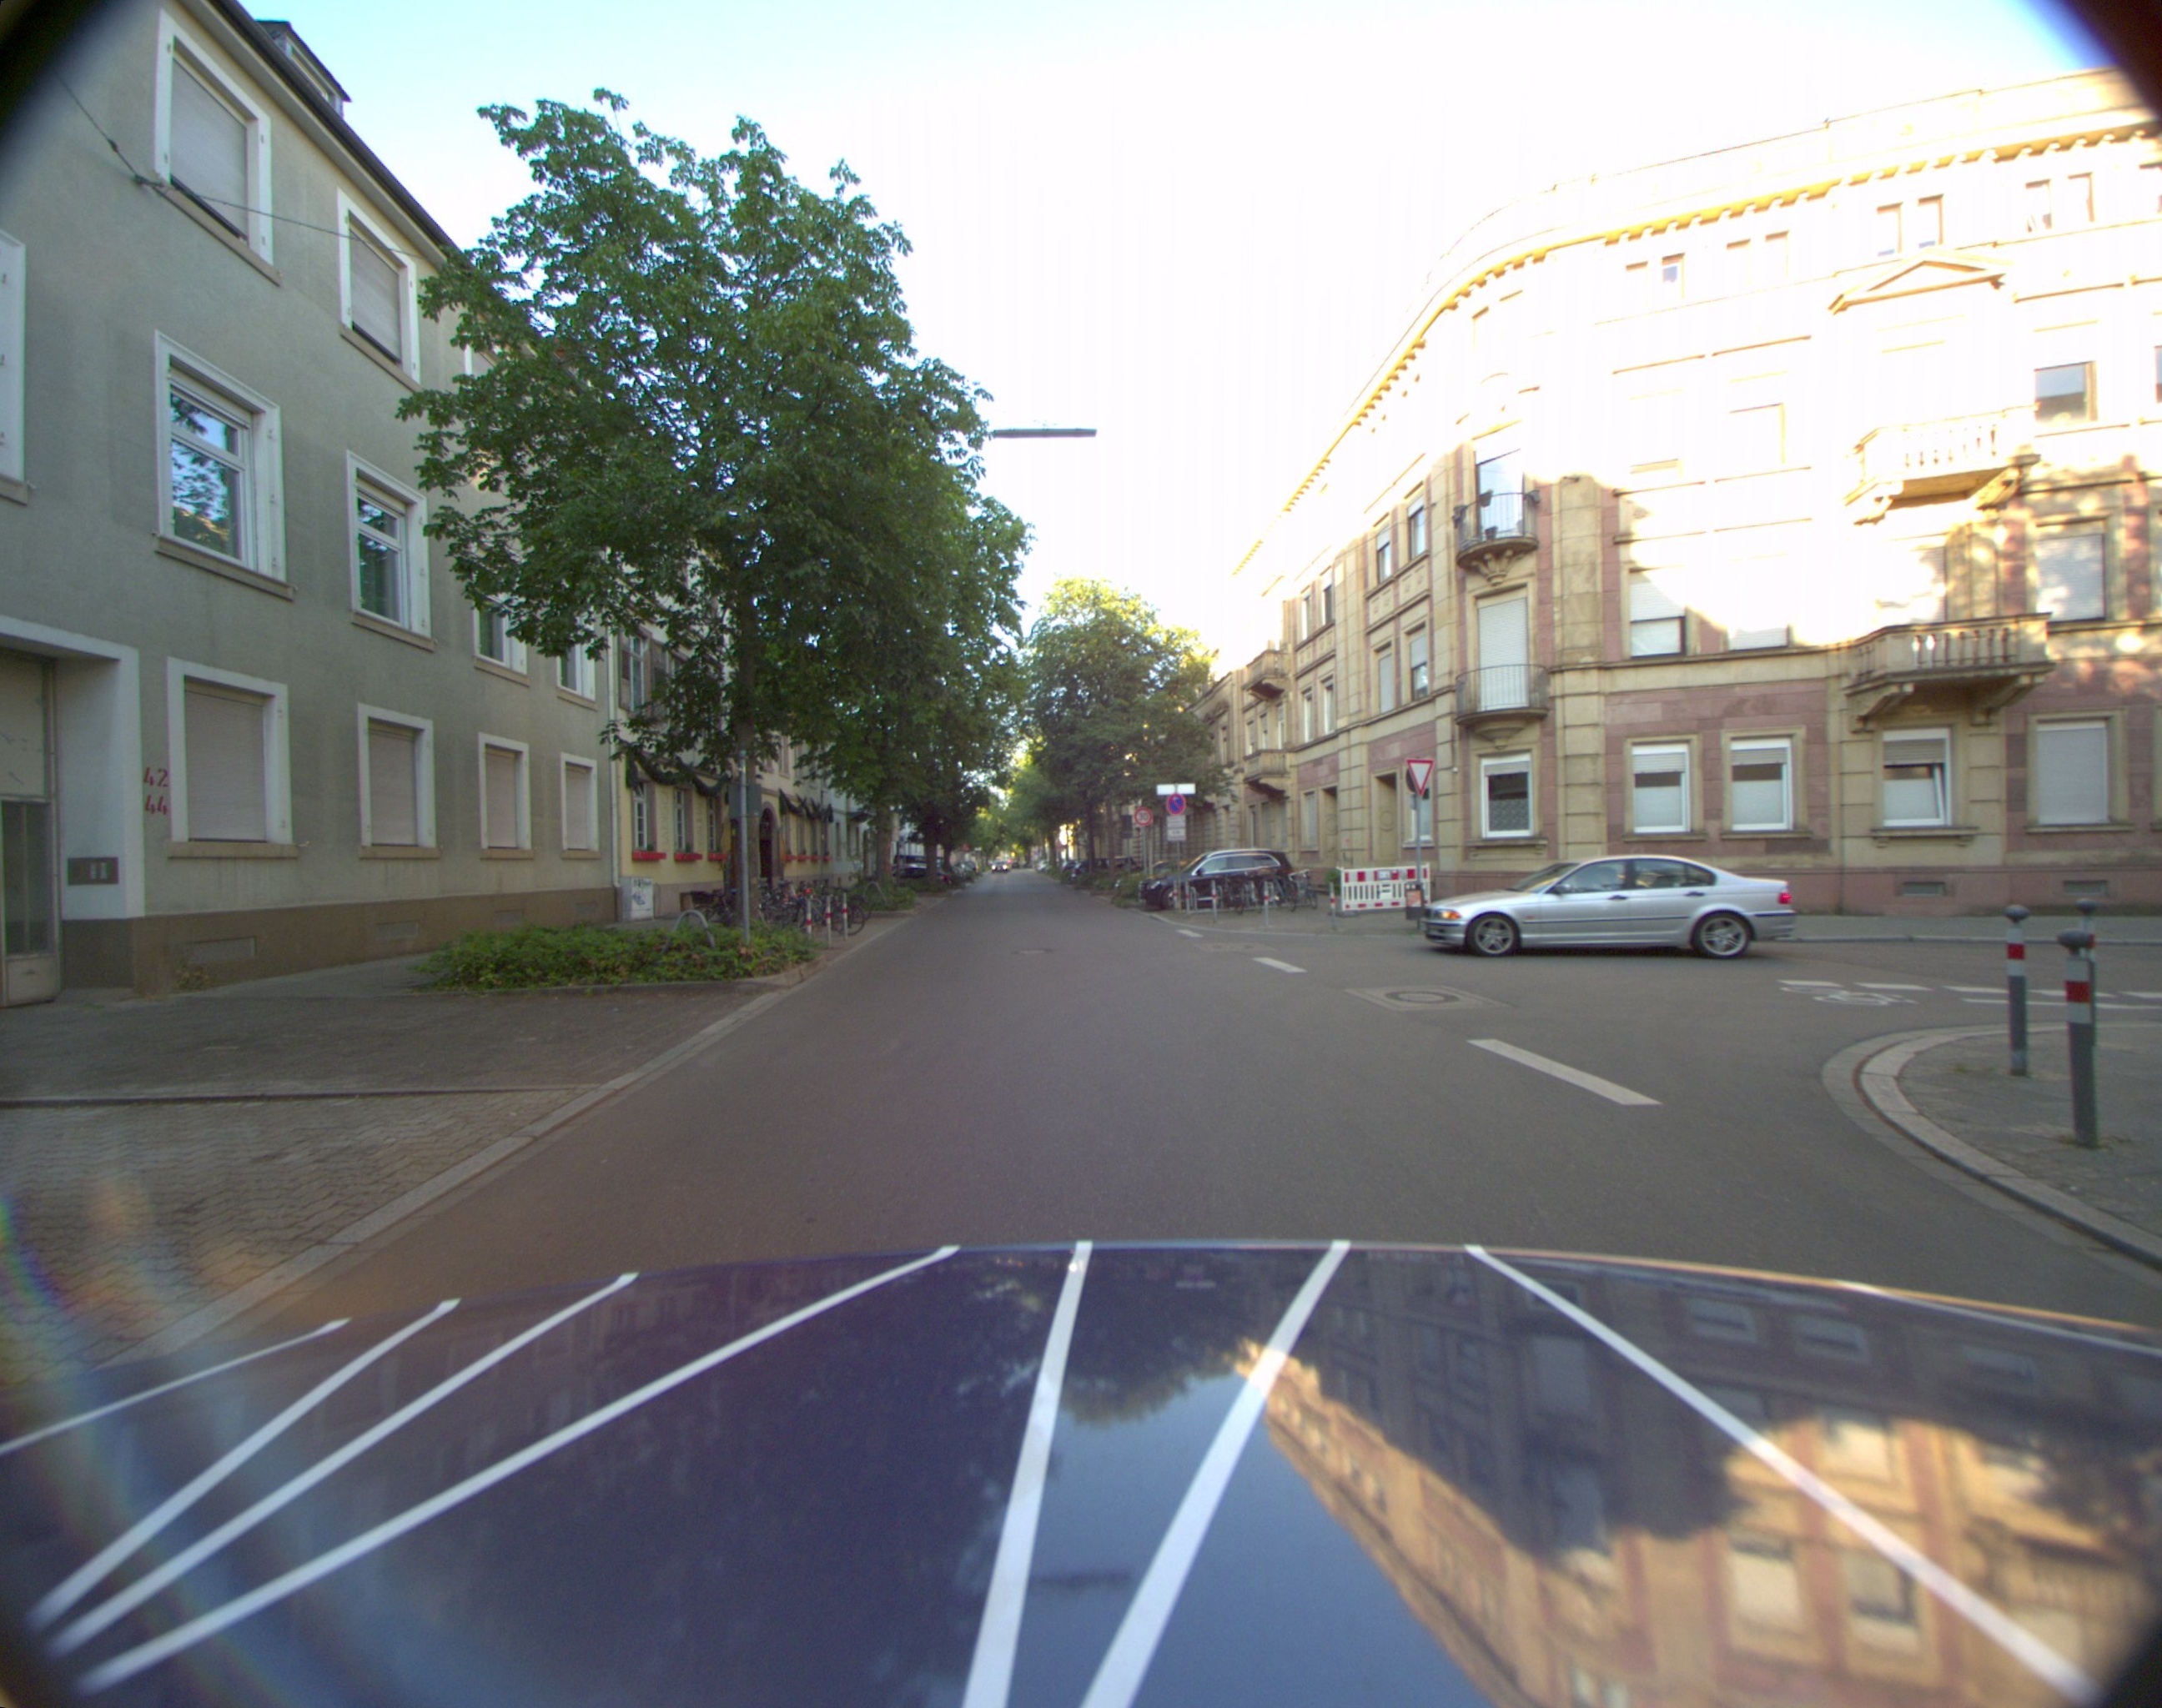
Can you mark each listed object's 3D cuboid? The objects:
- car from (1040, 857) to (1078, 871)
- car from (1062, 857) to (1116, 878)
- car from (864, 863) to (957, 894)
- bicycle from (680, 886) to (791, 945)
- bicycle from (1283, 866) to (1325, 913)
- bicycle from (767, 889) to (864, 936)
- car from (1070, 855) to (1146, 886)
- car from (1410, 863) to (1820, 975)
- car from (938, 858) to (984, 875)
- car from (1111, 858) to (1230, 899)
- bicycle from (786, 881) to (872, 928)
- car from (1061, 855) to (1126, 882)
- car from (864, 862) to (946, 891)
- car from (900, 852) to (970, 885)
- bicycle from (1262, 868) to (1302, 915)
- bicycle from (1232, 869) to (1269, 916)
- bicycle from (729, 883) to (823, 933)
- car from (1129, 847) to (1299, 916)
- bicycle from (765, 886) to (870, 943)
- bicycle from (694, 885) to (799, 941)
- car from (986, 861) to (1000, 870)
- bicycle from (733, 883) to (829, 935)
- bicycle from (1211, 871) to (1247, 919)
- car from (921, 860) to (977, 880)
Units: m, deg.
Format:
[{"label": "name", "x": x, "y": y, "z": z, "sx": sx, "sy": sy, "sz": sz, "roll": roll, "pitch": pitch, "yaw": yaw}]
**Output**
[{"label": "car", "x": -2.673, "y": 1.170, "z": 91.545, "sx": 4.444, "sy": 1.638, "sz": 1.776, "roll": -1, "pitch": 0, "yaw": -4}, {"label": "car", "x": 0.631, "y": 1.046, "z": 58.988, "sx": 4.032, "sy": 1.474, "sz": 1.776, "roll": -1, "pitch": 0, "yaw": -4}, {"label": "car", "x": -8.785, "y": 1.247, "z": 39.481, "sx": 4.444, "sy": 1.496, "sz": 1.776, "roll": -1, "pitch": 0, "yaw": -4}, {"label": "bicycle", "x": -7.064, "y": 1.245, "z": 15.583, "sx": 2.041, "sy": 1.139, "sz": 0.446, "roll": -1, "pitch": 0, "yaw": -2}, {"label": "bicycle", "x": 5.734, "y": 0.897, "z": 19.650, "sx": 0.364, "sy": 1.083, "sz": 1.869, "roll": -3, "pitch": 1, "yaw": -5}, {"label": "bicycle", "x": -6.067, "y": 1.332, "z": 17.440, "sx": 2.042, "sy": 0.998, "sz": 0.421, "roll": -1, "pitch": 0, "yaw": -6}, {"label": "car", "x": 1.615, "y": 0.999, "z": 46.247, "sx": 4.444, "sy": 1.728, "sz": 1.776, "roll": -1, "pitch": 0, "yaw": -4}, {"label": "car", "x": 7.251, "y": 0.859, "z": 10.849, "sx": 4.462, "sy": 1.395, "sz": 1.685, "roll": -1, "pitch": -1, "yaw": 15}, {"label": "car", "x": -12.239, "y": 1.279, "z": 77.420, "sx": 4.444, "sy": 1.603, "sz": 1.776, "roll": -1, "pitch": 0, "yaw": -4}, {"label": "car", "x": 3.492, "y": 0.930, "z": 30.134, "sx": 4.444, "sy": 1.478, "sz": 1.776, "roll": -1, "pitch": 0, "yaw": -4}, {"label": "bicycle", "x": -6.497, "y": 1.289, "z": 19.665, "sx": 2.042, "sy": 1.139, "sz": 0.421, "roll": -1, "pitch": 0, "yaw": -6}, {"label": "car", "x": 0.847, "y": 1.014, "z": 53.226, "sx": 4.444, "sy": 1.728, "sz": 1.776, "roll": -1, "pitch": 0, "yaw": -4}, {"label": "car", "x": -10.366, "y": 1.314, "z": 44.900, "sx": 4.444, "sy": 1.603, "sz": 1.776, "roll": -1, "pitch": 0, "yaw": -4}, {"label": "car", "x": -9.934, "y": 0.977, "z": 51.914, "sx": 4.444, "sy": 2.110, "sz": 1.776, "roll": -1, "pitch": 0, "yaw": -4}, {"label": "bicycle", "x": 5.152, "y": 0.938, "z": 19.591, "sx": 0.364, "sy": 1.083, "sz": 1.869, "roll": -3, "pitch": 1, "yaw": -5}, {"label": "bicycle", "x": 4.387, "y": 0.972, "z": 19.780, "sx": 0.364, "sy": 1.083, "sz": 1.869, "roll": -3, "pitch": 1, "yaw": -5}, {"label": "bicycle", "x": -7.401, "y": 1.304, "z": 18.488, "sx": 2.042, "sy": 1.139, "sz": 0.421, "roll": -1, "pitch": 0, "yaw": -6}, {"label": "car", "x": 3.839, "y": 0.765, "z": 22.412, "sx": 4.590, "sy": 1.728, "sz": 1.775, "roll": -3, "pitch": 1, "yaw": -4}, {"label": "bicycle", "x": -5.594, "y": 1.275, "z": 16.206, "sx": 2.041, "sy": 1.139, "sz": 0.446, "roll": -1, "pitch": 0, "yaw": -5}, {"label": "bicycle", "x": -7.281, "y": 1.278, "z": 16.586, "sx": 2.042, "sy": 1.139, "sz": 0.421, "roll": -1, "pitch": 0, "yaw": -6}, {"label": "car", "x": -12.963, "y": 1.667, "z": 111.933, "sx": 1.828, "sy": 1.364, "sz": 3.998, "roll": -1, "pitch": 0, "yaw": -5}, {"label": "bicycle", "x": -7.038, "y": 1.288, "z": 17.872, "sx": 2.042, "sy": 1.139, "sz": 0.421, "roll": -1, "pitch": 0, "yaw": -6}, {"label": "bicycle", "x": 3.776, "y": 1.019, "z": 19.516, "sx": 0.364, "sy": 1.083, "sz": 1.869, "roll": -3, "pitch": 1, "yaw": -5}, {"label": "car", "x": -11.098, "y": 1.319, "z": 63.989, "sx": 4.444, "sy": 1.603, "sz": 1.776, "roll": -1, "pitch": 0, "yaw": -4}]
